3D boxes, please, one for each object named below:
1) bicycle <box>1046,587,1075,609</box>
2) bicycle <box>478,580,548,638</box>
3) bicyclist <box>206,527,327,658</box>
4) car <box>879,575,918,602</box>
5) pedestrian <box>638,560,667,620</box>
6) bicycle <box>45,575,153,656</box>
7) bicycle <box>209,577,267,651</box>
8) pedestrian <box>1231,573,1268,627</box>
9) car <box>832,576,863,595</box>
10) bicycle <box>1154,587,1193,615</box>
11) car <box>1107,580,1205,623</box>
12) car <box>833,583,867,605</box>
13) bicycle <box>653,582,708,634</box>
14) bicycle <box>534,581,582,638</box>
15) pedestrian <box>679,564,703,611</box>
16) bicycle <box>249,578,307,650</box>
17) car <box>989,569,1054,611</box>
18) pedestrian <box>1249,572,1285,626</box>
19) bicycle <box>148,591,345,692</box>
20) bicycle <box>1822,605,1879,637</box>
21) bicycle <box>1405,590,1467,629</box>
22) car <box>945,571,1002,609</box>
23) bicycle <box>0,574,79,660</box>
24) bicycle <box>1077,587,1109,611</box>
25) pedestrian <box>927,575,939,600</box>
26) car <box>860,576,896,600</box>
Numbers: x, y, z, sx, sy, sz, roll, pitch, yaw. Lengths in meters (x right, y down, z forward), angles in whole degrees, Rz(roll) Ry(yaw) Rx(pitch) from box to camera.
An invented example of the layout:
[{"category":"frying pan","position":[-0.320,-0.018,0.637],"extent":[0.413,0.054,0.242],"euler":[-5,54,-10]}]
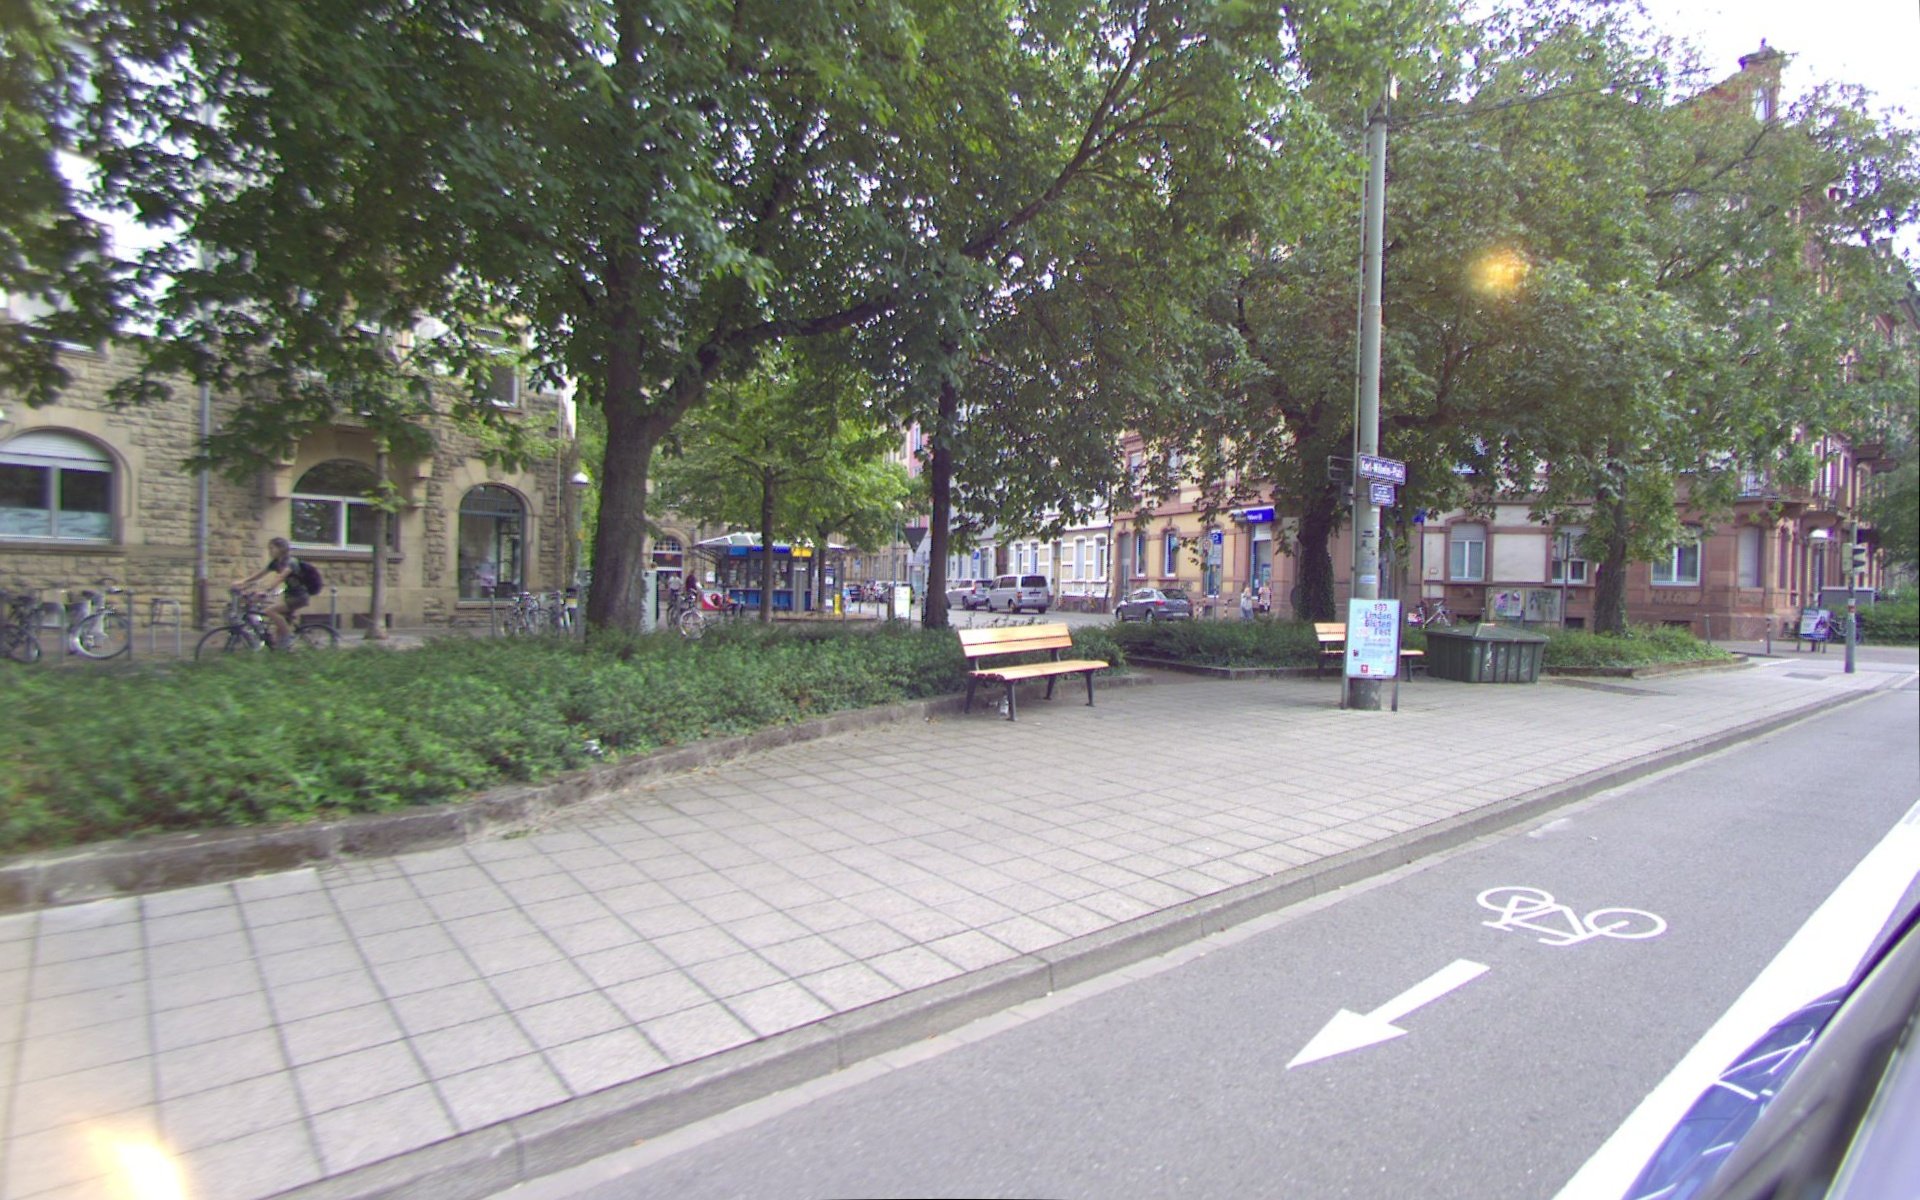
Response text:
[{"category":"bicycle","position":[5.327,-0.113,53.625],"extent":[0.659,1.135,1.944],"euler":[1,1,-22]},{"category":"bicycle","position":[-9.388,0.174,21.240],"extent":[1.884,1.142,0.525],"euler":[2,1,39]},{"category":"bicyclist","position":[-9.042,-0.112,13.235],"extent":[0.638,1.626,1.132],"euler":[2,1,19]},{"category":"car","position":[-4.433,-0.836,72.364],"extent":[1.780,1.771,4.009],"euler":[1,1,-19]},{"category":"pedestrian","position":[-8.825,-0.301,29.065],"extent":[0.717,1.696,0.837],"euler":[1,1,-20]},{"category":"bicycle","position":[-13.097,0.214,15.383],"extent":[1.876,1.142,0.589],"euler":[2,1,28]},{"category":"bicycle","position":[-12.182,0.208,17.048],"extent":[0.524,1.142,1.889],"euler":[1,1,-44]},{"category":"pedestrian","position":[9.655,-0.017,33.785],"extent":[0.875,1.750,0.734],"euler":[2,2,-8]},{"category":"car","position":[-9.877,-1.279,88.634],"extent":[1.958,1.538,4.009],"euler":[1,1,-17]},{"category":"bicycle","position":[9.118,0.039,43.325],"extent":[0.659,1.135,1.944],"euler":[1,1,-22]},{"category":"car","position":[7.245,0.018,37.755],"extent":[1.780,1.459,4.009],"euler":[1,1,-19]},{"category":"car","position":[-8.241,-0.455,75.572],"extent":[1.780,1.542,4.009],"euler":[1,1,-17]},{"category":"bicycle","position":[-6.654,0.170,24.015],"extent":[0.523,1.142,1.892],"euler":[1,1,-39]},{"category":"bicycle","position":[-8.645,0.176,21.736],"extent":[0.522,1.142,1.894],"euler":[1,1,-35]},{"category":"pedestrian","position":[-9.514,-0.443,35.829],"extent":[0.717,1.643,0.837],"euler":[1,1,-21]},{"category":"bicycle","position":[-11.802,0.217,17.489],"extent":[0.524,1.142,1.889],"euler":[1,1,-44]},{"category":"car","position":[3.050,-0.546,51.081],"extent":[1.829,2.005,4.009],"euler":[1,1,-19]},{"category":"pedestrian","position":[10.432,-0.044,34.392],"extent":[0.741,1.750,0.895],"euler":[2,2,-17]},{"category":"bicycle","position":[-9.122,0.476,13.062],"extent":[0.646,1.166,2.090],"euler":[2,1,19]},{"category":"bicycle","position":[29.417,0.683,33.433],"extent":[1.518,0.981,0.511],"euler":[2,1,-8]},{"category":"bicycle","position":[15.211,0.291,32.343],"extent":[1.665,1.158,0.663],"euler":[3,1,41]},{"category":"car","position":[0.710,-0.588,56.689],"extent":[1.780,1.967,4.165],"euler":[1,1,-19]},{"category":"bicycle","position":[-13.465,0.220,14.660],"extent":[1.880,1.142,0.575],"euler":[2,1,33]},{"category":"bicycle","position":[6.551,-0.063,49.857],"extent":[0.659,1.135,1.944],"euler":[1,1,-22]},{"category":"pedestrian","position":[-1.950,-0.884,72.441],"extent":[0.633,1.776,0.734],"euler":[1,1,-19]},{"category":"car","position":[-6.361,-0.949,77.939],"extent":[1.780,1.771,4.009],"euler":[1,1,-19]}]
